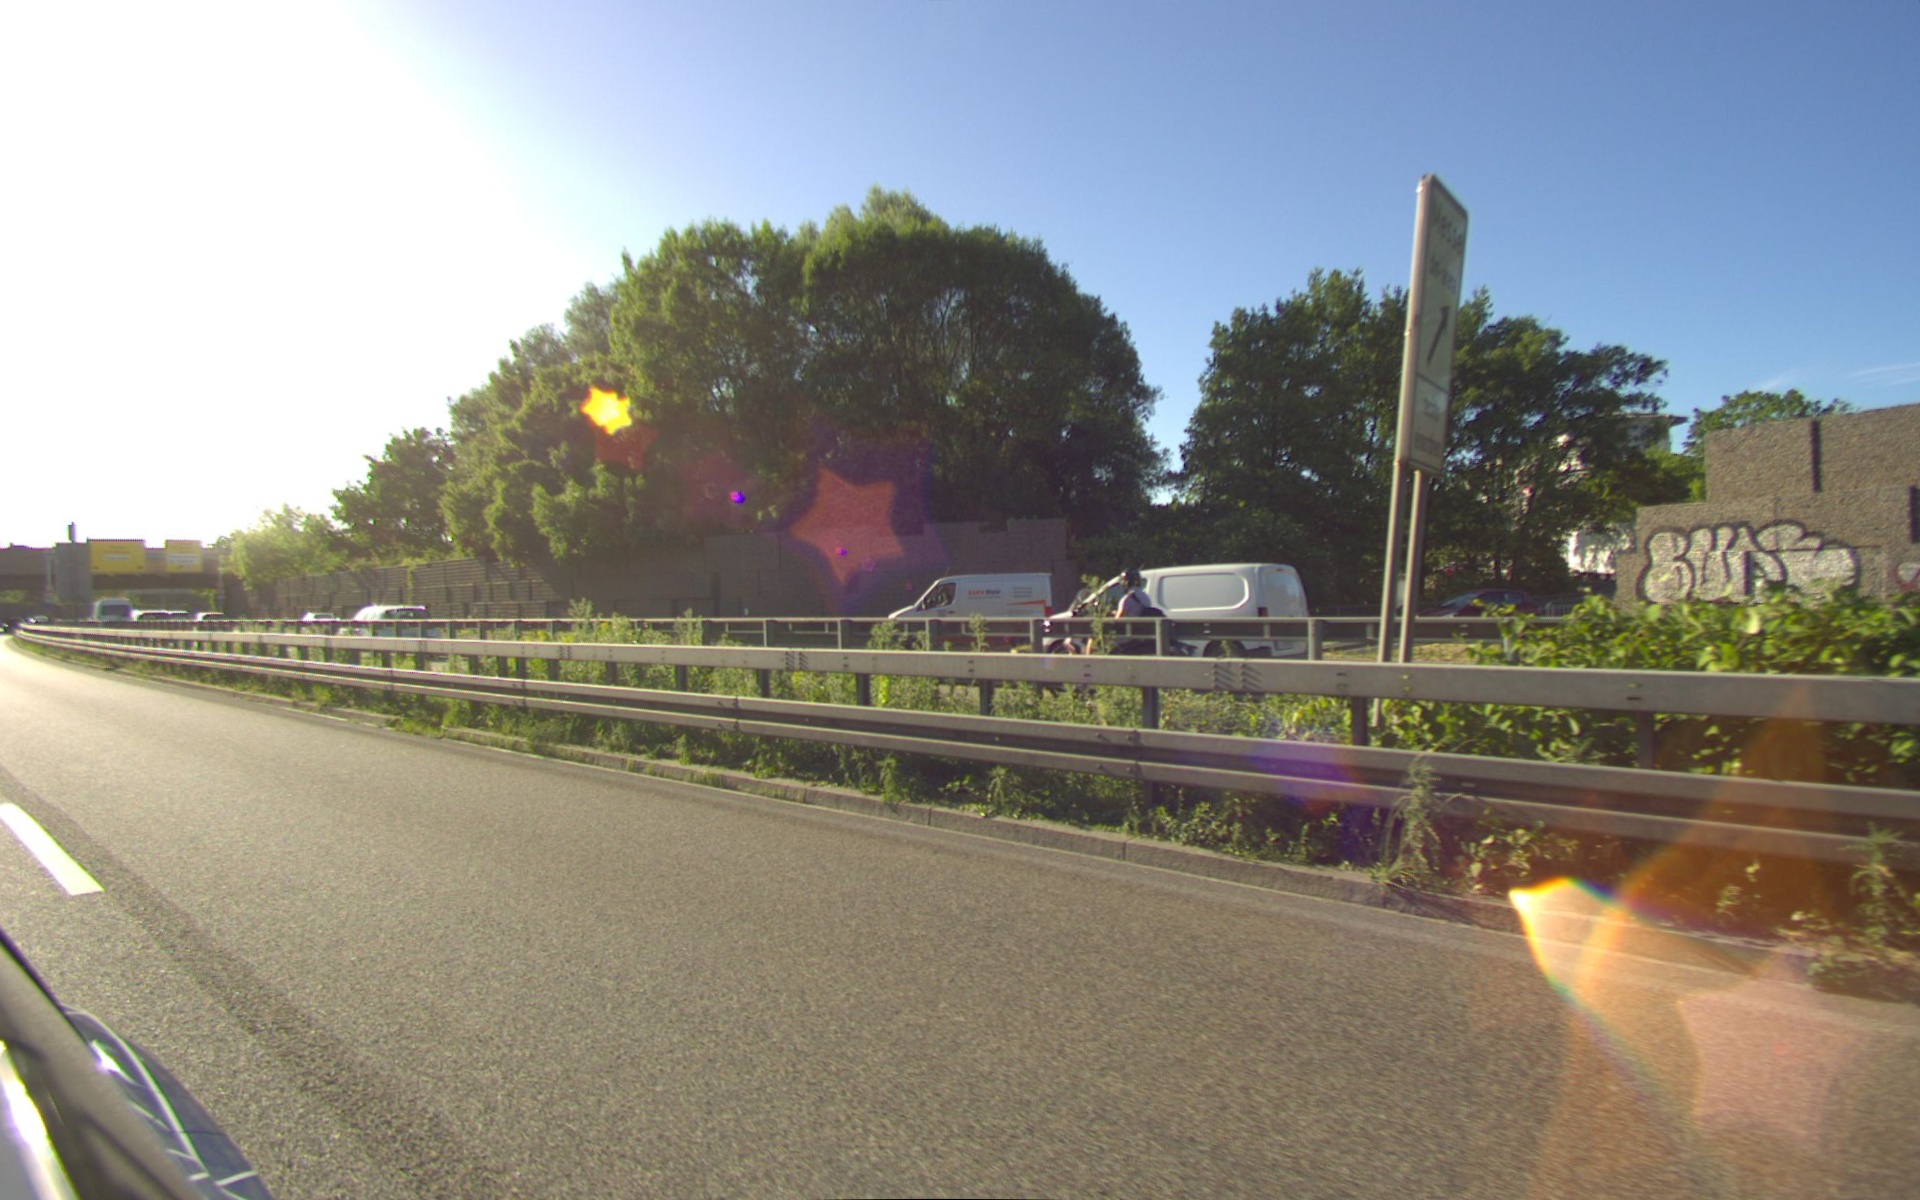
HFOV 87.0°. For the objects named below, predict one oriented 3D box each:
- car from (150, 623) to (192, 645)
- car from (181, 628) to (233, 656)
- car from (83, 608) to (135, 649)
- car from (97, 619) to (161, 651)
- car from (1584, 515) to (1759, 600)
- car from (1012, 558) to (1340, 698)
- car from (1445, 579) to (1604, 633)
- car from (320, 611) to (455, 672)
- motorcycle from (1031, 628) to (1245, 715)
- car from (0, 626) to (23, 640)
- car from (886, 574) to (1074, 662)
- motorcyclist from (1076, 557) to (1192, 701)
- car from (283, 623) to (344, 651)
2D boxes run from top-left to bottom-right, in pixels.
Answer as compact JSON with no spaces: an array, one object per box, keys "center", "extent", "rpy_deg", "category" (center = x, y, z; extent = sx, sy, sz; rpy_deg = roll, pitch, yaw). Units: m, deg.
[{"center":[-62.170,2.678,79.736],"extent":[4.623,1.608,1.971],"rpy_deg":[-3,1,45],"category":"car"},{"center":[-48.976,2.701,65.813],"extent":[4.696,1.632,1.881],"rpy_deg":[-3,1,43],"category":"car"},{"center":[-60.019,2.028,71.343],"extent":[6.590,2.703,2.097],"rpy_deg":[-3,1,45],"category":"car"},{"center":[-43.730,1.834,53.235],"extent":[4.246,1.591,1.972],"rpy_deg":[-3,-2,42],"category":"car"},{"center":[38.266,-2.203,55.218],"extent":[2.437,3.958,12.690],"rpy_deg":[-3,1,10],"category":"car"},{"center":[3.206,0.423,15.670],"extent":[4.619,1.835,1.803],"rpy_deg":[-3,1,42],"category":"car"},{"center":[17.002,0.167,30.511],"extent":[4.027,1.344,2.009],"rpy_deg":[-4,1,-21],"category":"car"},{"center":[-16.173,1.161,28.505],"extent":[4.618,1.491,1.803],"rpy_deg":[-3,1,41],"category":"car"},{"center":[2.105,0.838,12.276],"extent":[2.473,0.899,0.803],"rpy_deg":[-3,1,41],"category":"motorcycle"},{"center":[-106.349,3.699,113.104],"extent":[1.968,1.425,4.840],"rpy_deg":[-2,0,-38],"category":"car"},{"center":[0.651,0.514,30.369],"extent":[5.313,2.297,2.078],"rpy_deg":[-3,1,9],"category":"car"},{"center":[2.105,0.334,12.248],"extent":[1.045,1.638,0.813],"rpy_deg":[-3,1,41],"category":"motorcyclist"},{"center":[-36.737,2.097,57.465],"extent":[4.029,1.398,1.972],"rpy_deg":[-3,1,44],"category":"car"}]
